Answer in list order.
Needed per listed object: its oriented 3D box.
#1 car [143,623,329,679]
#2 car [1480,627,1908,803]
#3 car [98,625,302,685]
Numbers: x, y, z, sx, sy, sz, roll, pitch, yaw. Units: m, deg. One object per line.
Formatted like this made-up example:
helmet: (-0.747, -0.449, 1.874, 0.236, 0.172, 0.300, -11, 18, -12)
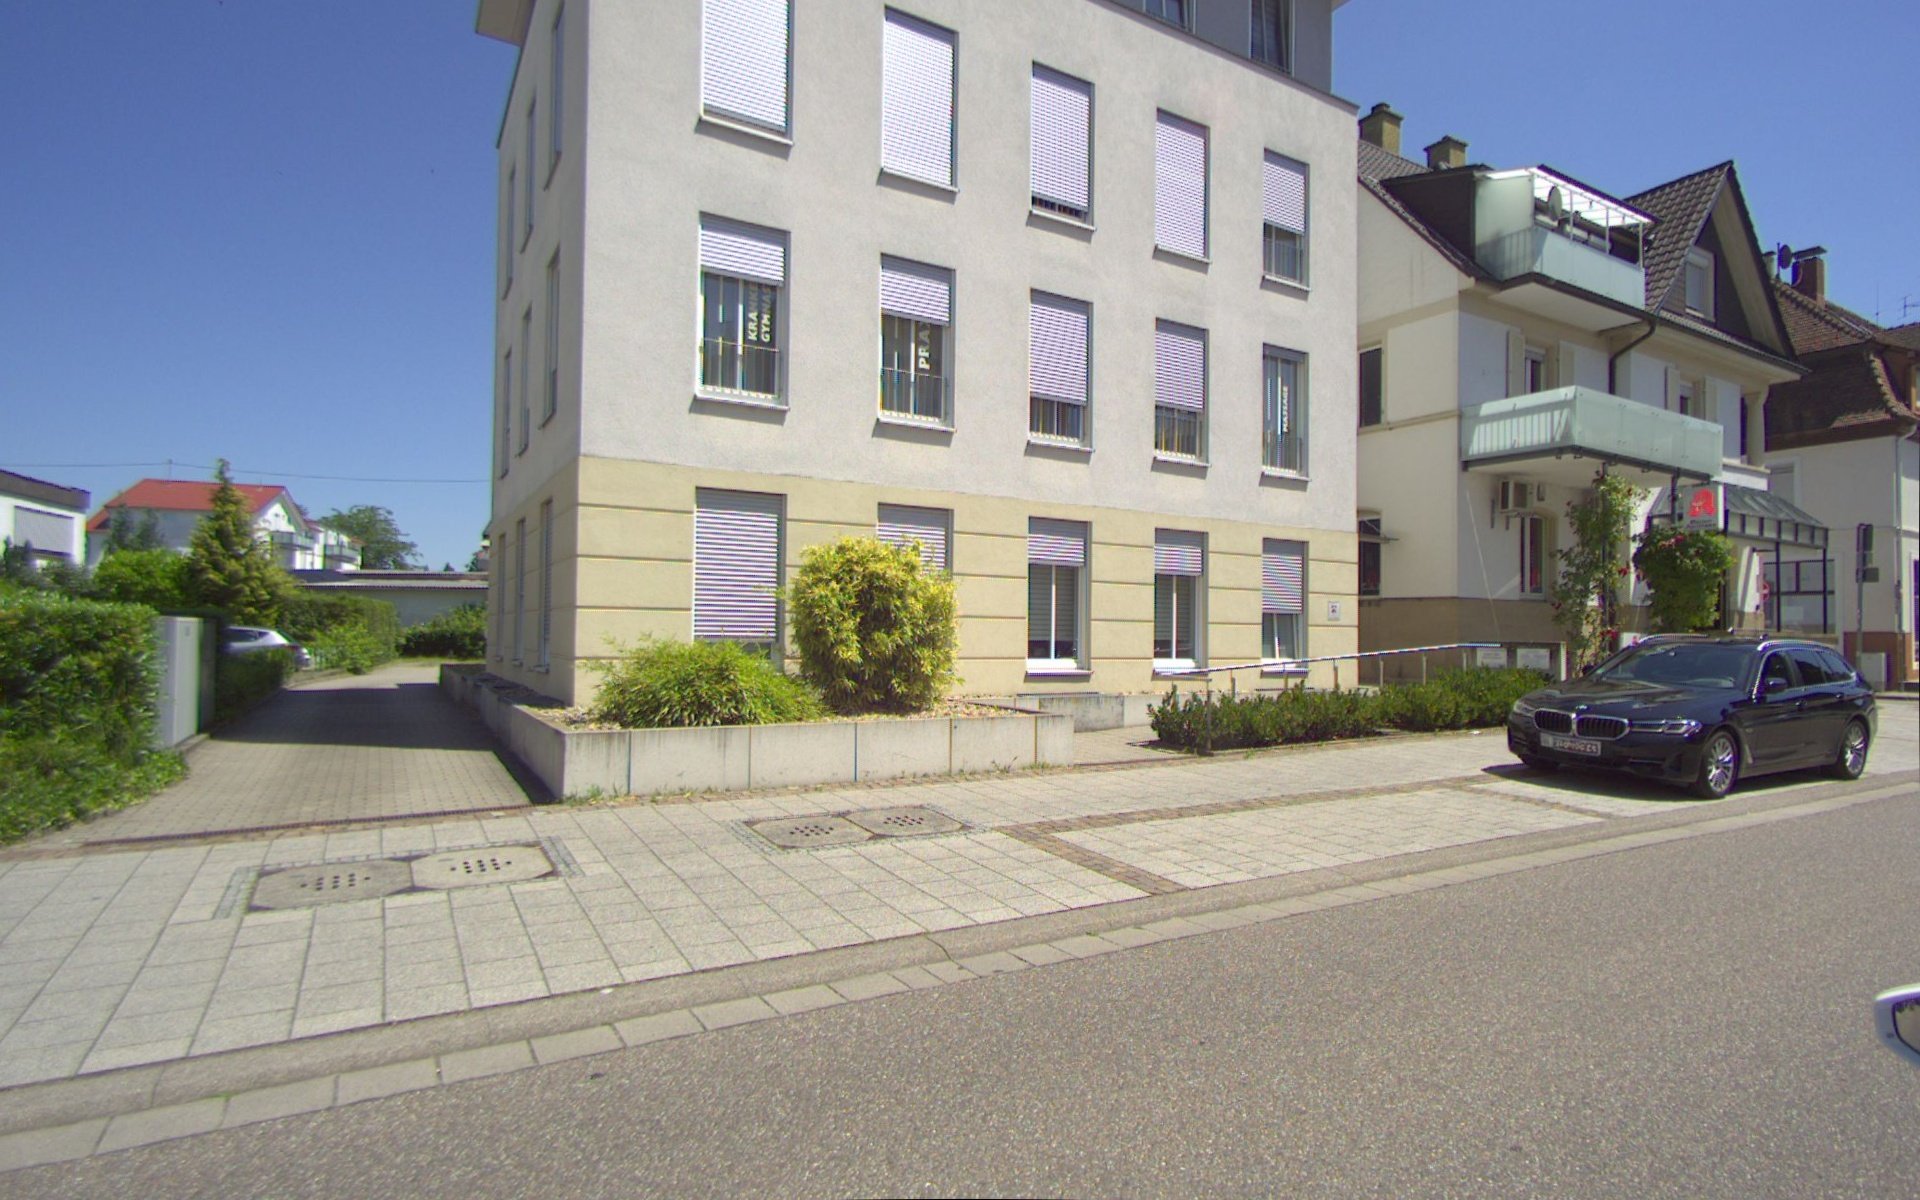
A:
car: (-20.557, 1.447, 28.773, 4.140, 1.494, 1.983, 2, -2, -32)
car: (8.171, 1.111, 11.043, 5.089, 1.471, 1.907, 2, 1, -30)
car: (-19.626, 1.411, 26.186, 3.998, 1.457, 1.940, 2, -2, -31)
